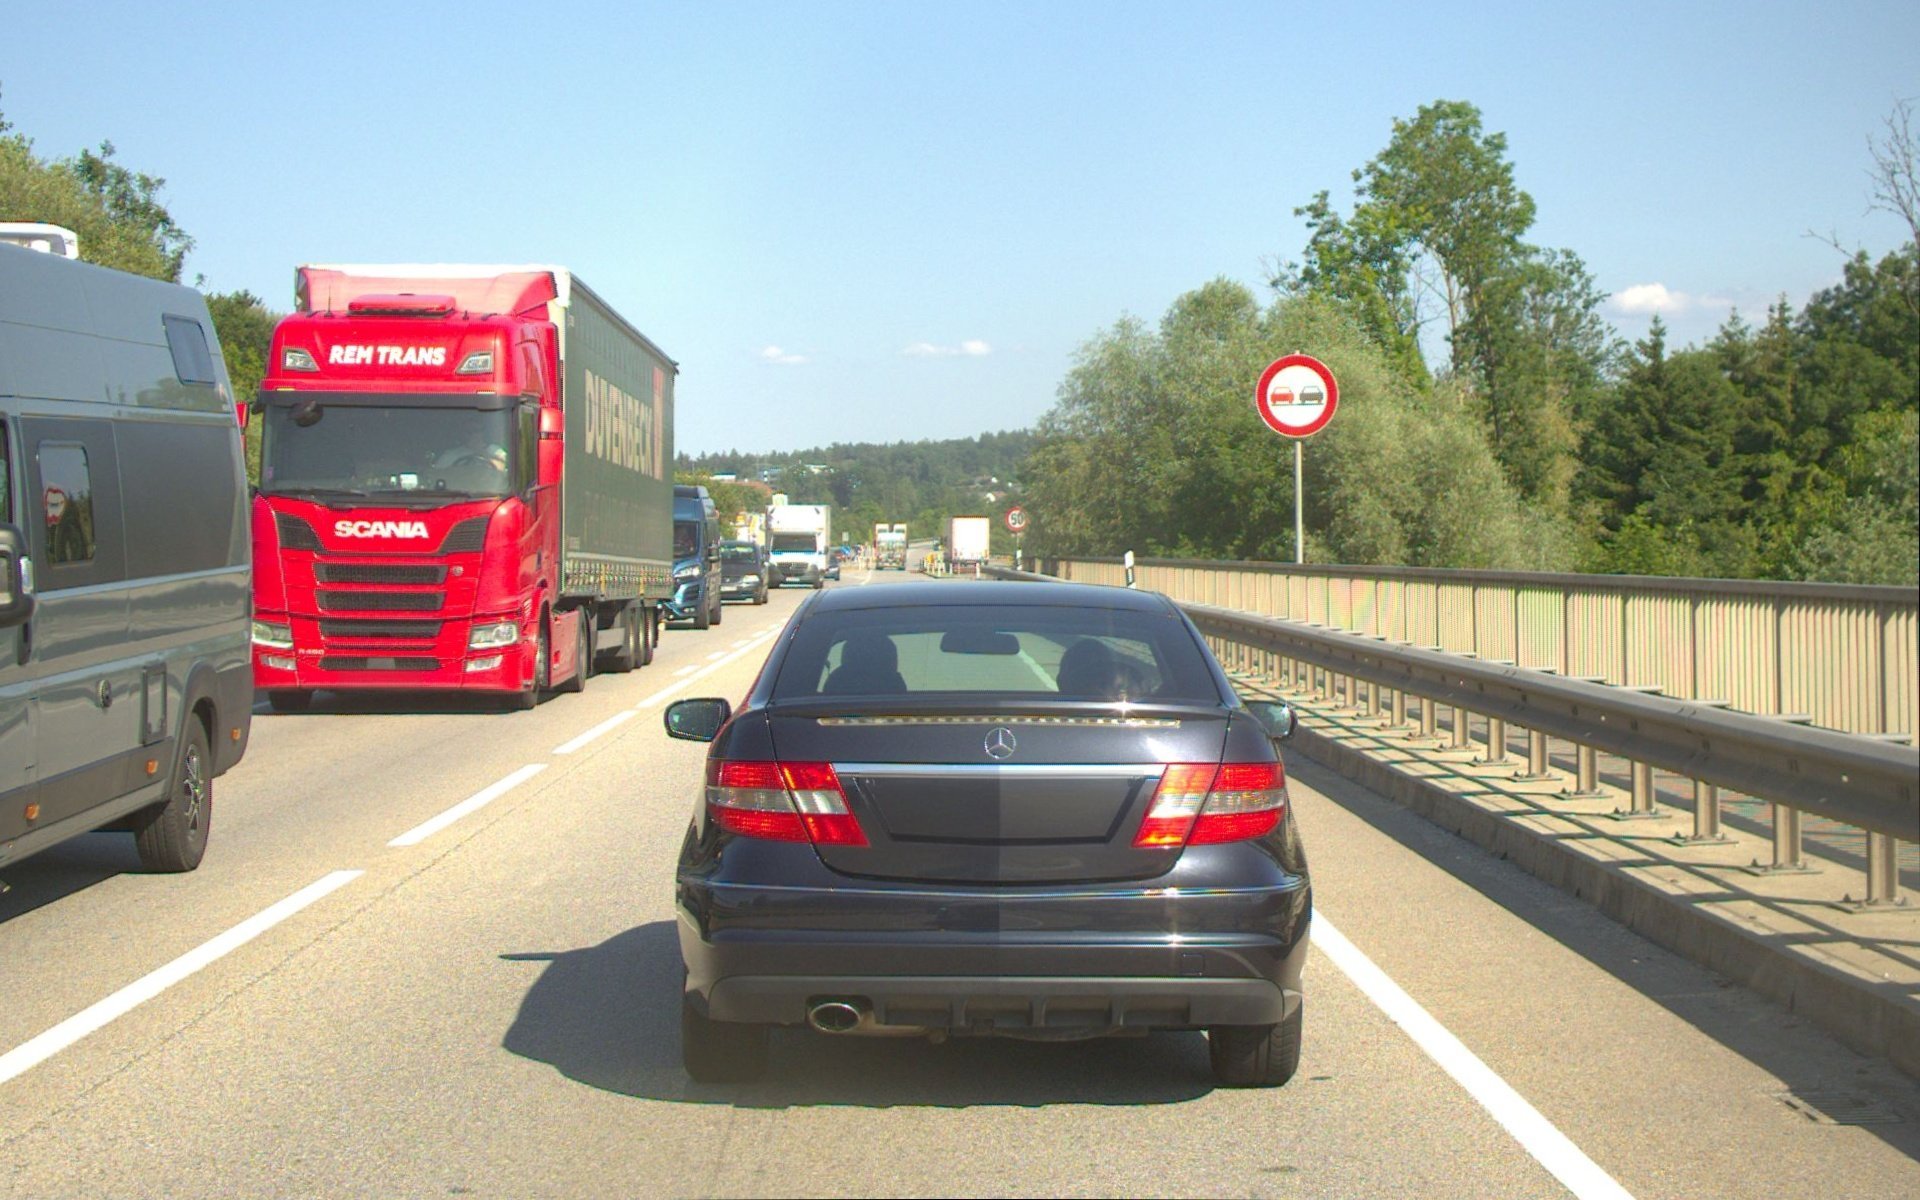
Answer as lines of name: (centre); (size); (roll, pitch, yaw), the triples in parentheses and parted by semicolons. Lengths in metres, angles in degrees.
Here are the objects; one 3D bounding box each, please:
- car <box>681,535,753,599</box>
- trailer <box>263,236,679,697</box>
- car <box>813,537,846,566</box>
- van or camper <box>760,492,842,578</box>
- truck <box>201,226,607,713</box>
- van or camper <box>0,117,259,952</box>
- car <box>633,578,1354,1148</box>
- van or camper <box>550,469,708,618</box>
car: (-6.412, -0.882, 90.967); (1.841, 1.636, 4.578); (0, 1, -3)
trailer: (-5.148, -1.375, 39.250); (2.907, 4.287, 14.303); (0, 1, -1)
car: (-6.710, -2.498, 176.493); (1.659, 1.431, 4.189); (0, 1, -2)
van or camper: (-6.128, -2.535, 133.724); (2.635, 3.245, 7.749); (0, 1, 1)
truck: (-5.076, -1.172, 32.412); (2.908, 4.170, 5.713); (0, 1, 0)
van or camper: (-4.677, -0.268, 14.040); (2.315, 3.040, 6.818); (0, 1, -1)
car: (0.095, 0.644, 10.574); (1.793, 1.371, 4.000); (0, 1, 0)
van or camper: (-6.120, -1.061, 64.293); (2.430, 2.633, 6.405); (0, 1, -1)
